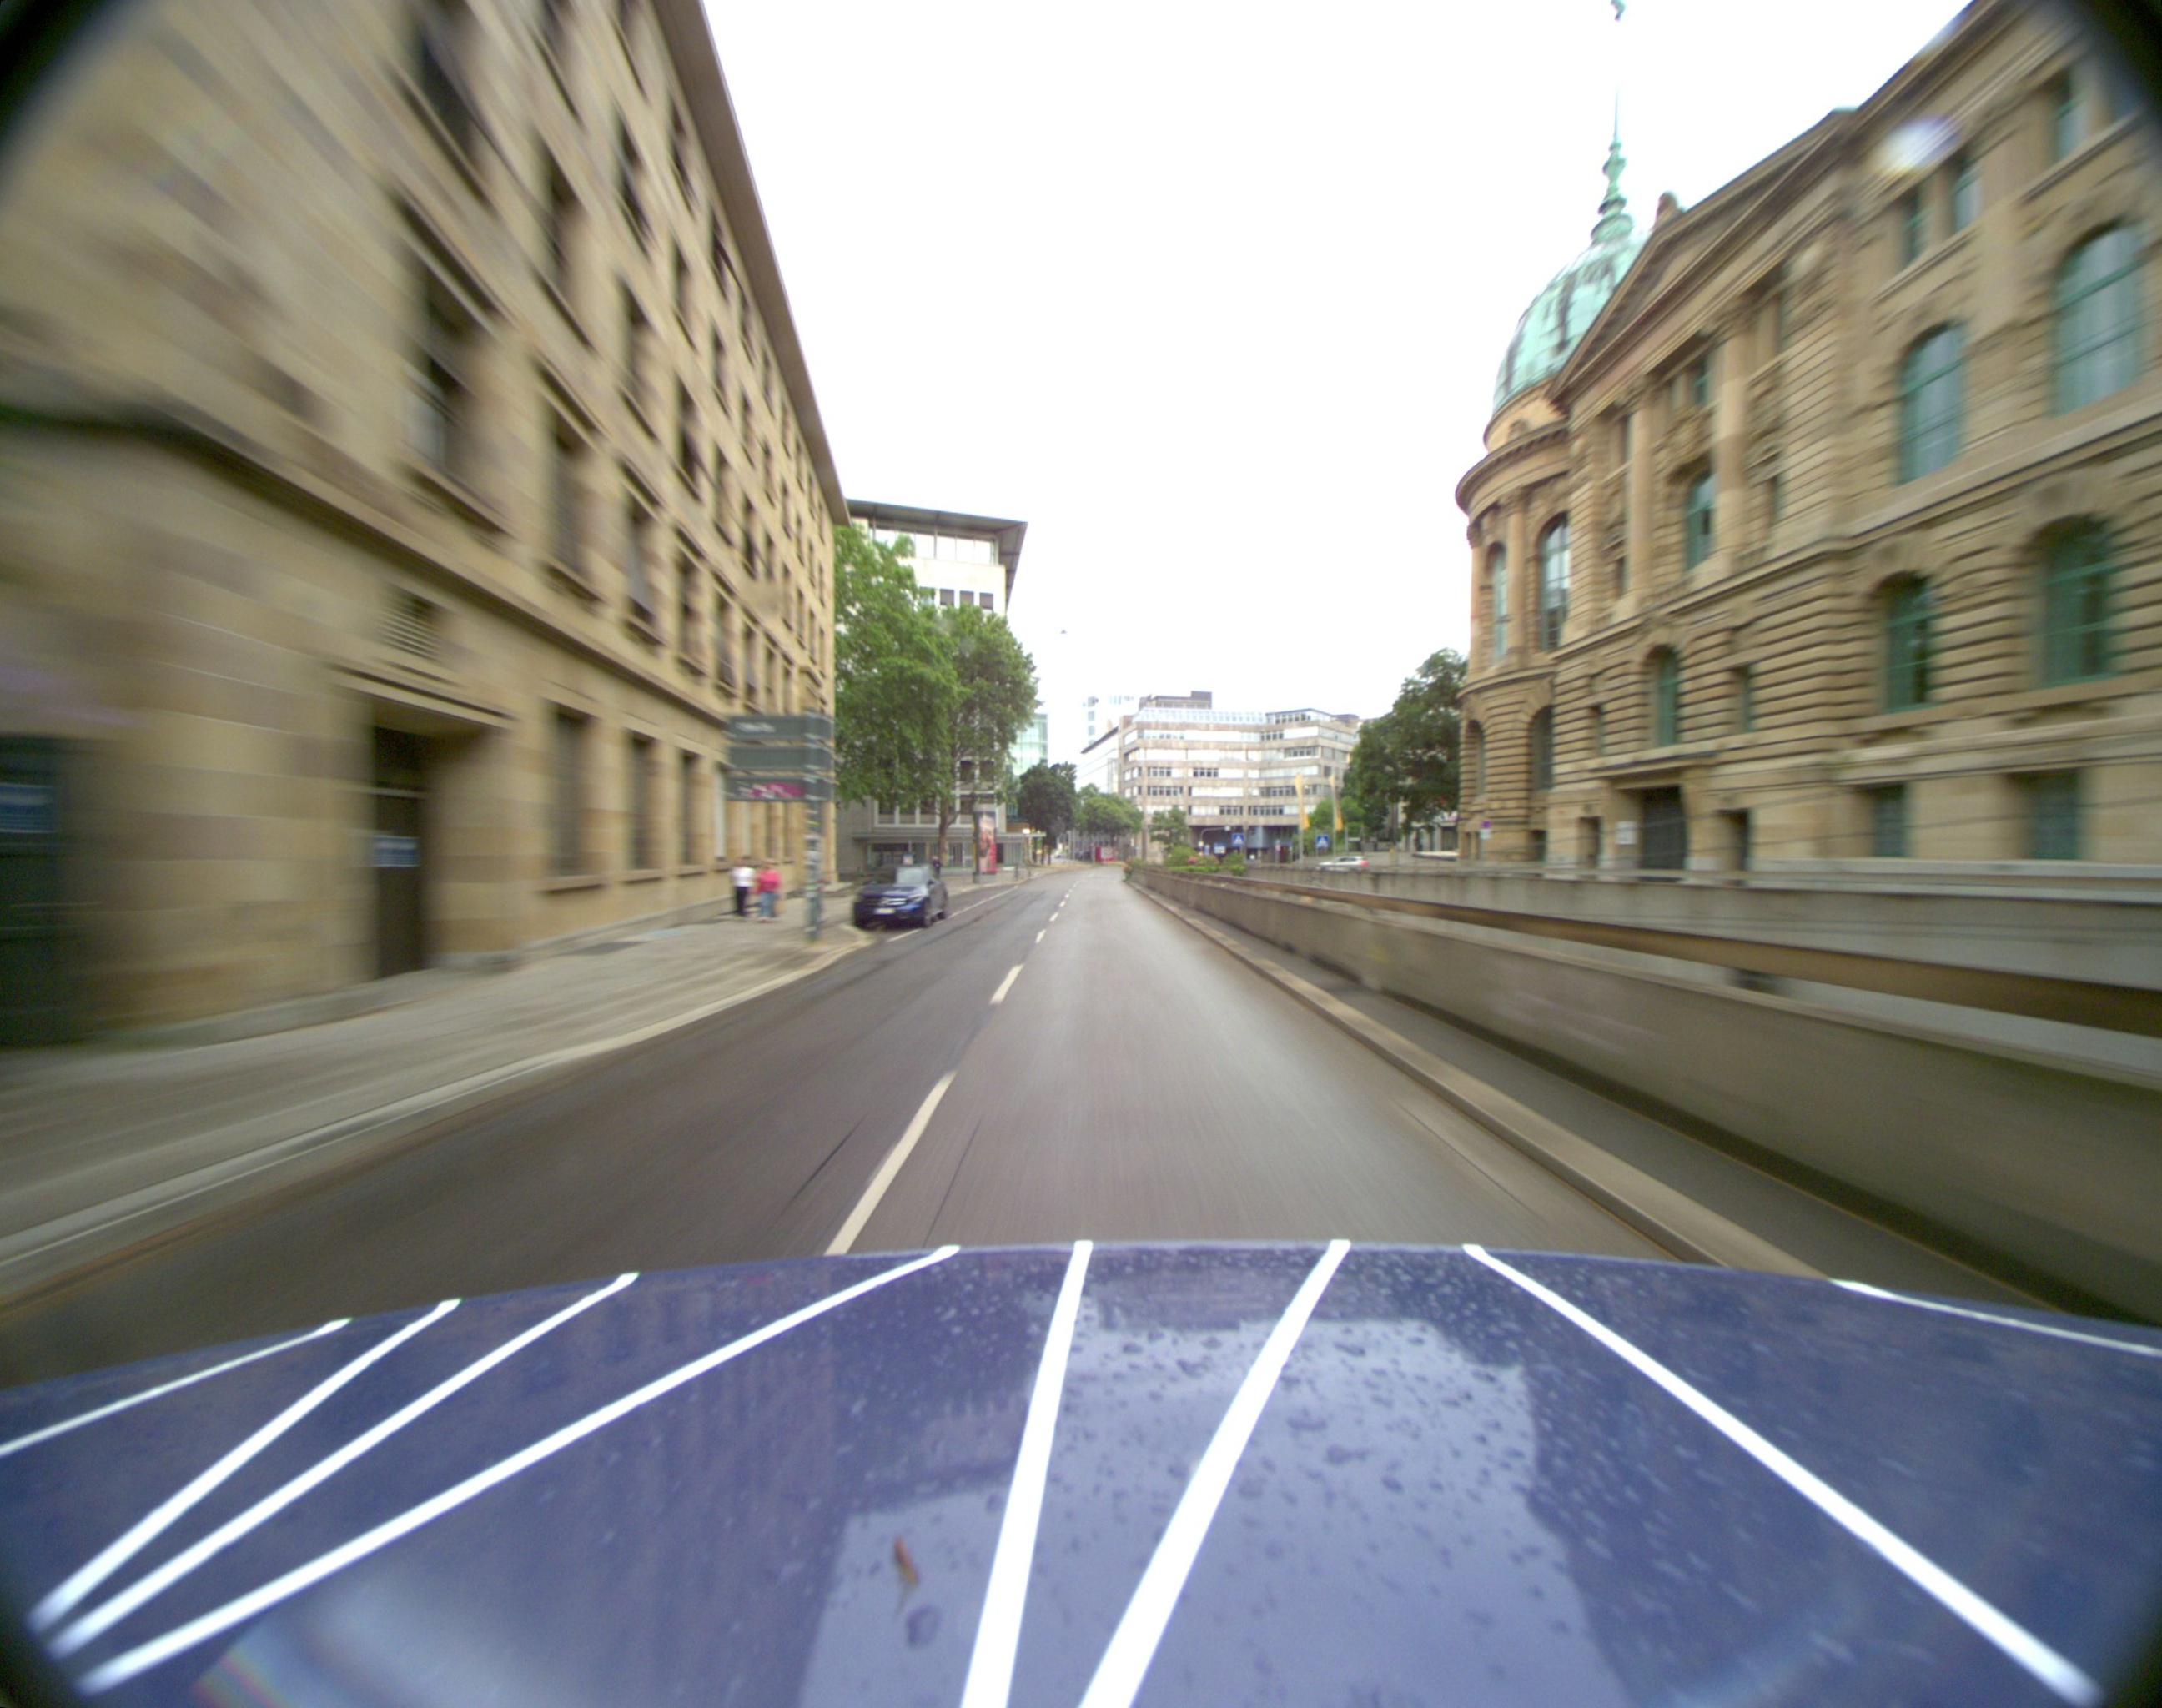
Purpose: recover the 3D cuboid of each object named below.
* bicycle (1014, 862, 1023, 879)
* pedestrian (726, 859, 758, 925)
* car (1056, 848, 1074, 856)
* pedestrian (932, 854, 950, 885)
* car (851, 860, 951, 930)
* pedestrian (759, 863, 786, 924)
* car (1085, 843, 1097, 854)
[{"bbox_3d":[-4.082,1.055,49.451,0.490,1.006,1.927,0,1,-2],"label":"bicycle"},{"bbox_3d":[-8.314,0.913,18.637,0.526,1.593,0.673,0,1,-7],"label":"pedestrian"},{"bbox_3d":[-3.818,-0.501,177.795,3.776,1.641,1.796,2,0,-23],"label":"car"},{"bbox_3d":[-8.170,0.908,44.346,0.781,1.761,0.863,0,1,6],"label":"pedestrian"},{"bbox_3d":[-4.739,1.017,20.596,1.773,1.610,4.156,0,1,-1],"label":"car"},{"bbox_3d":[-7.717,0.979,19.030,0.526,1.483,0.673,0,1,-14],"label":"pedestrian"},{"bbox_3d":[1.818,-1.042,143.179,1.999,2.068,3.998,-1,1,-4],"label":"car"}]
